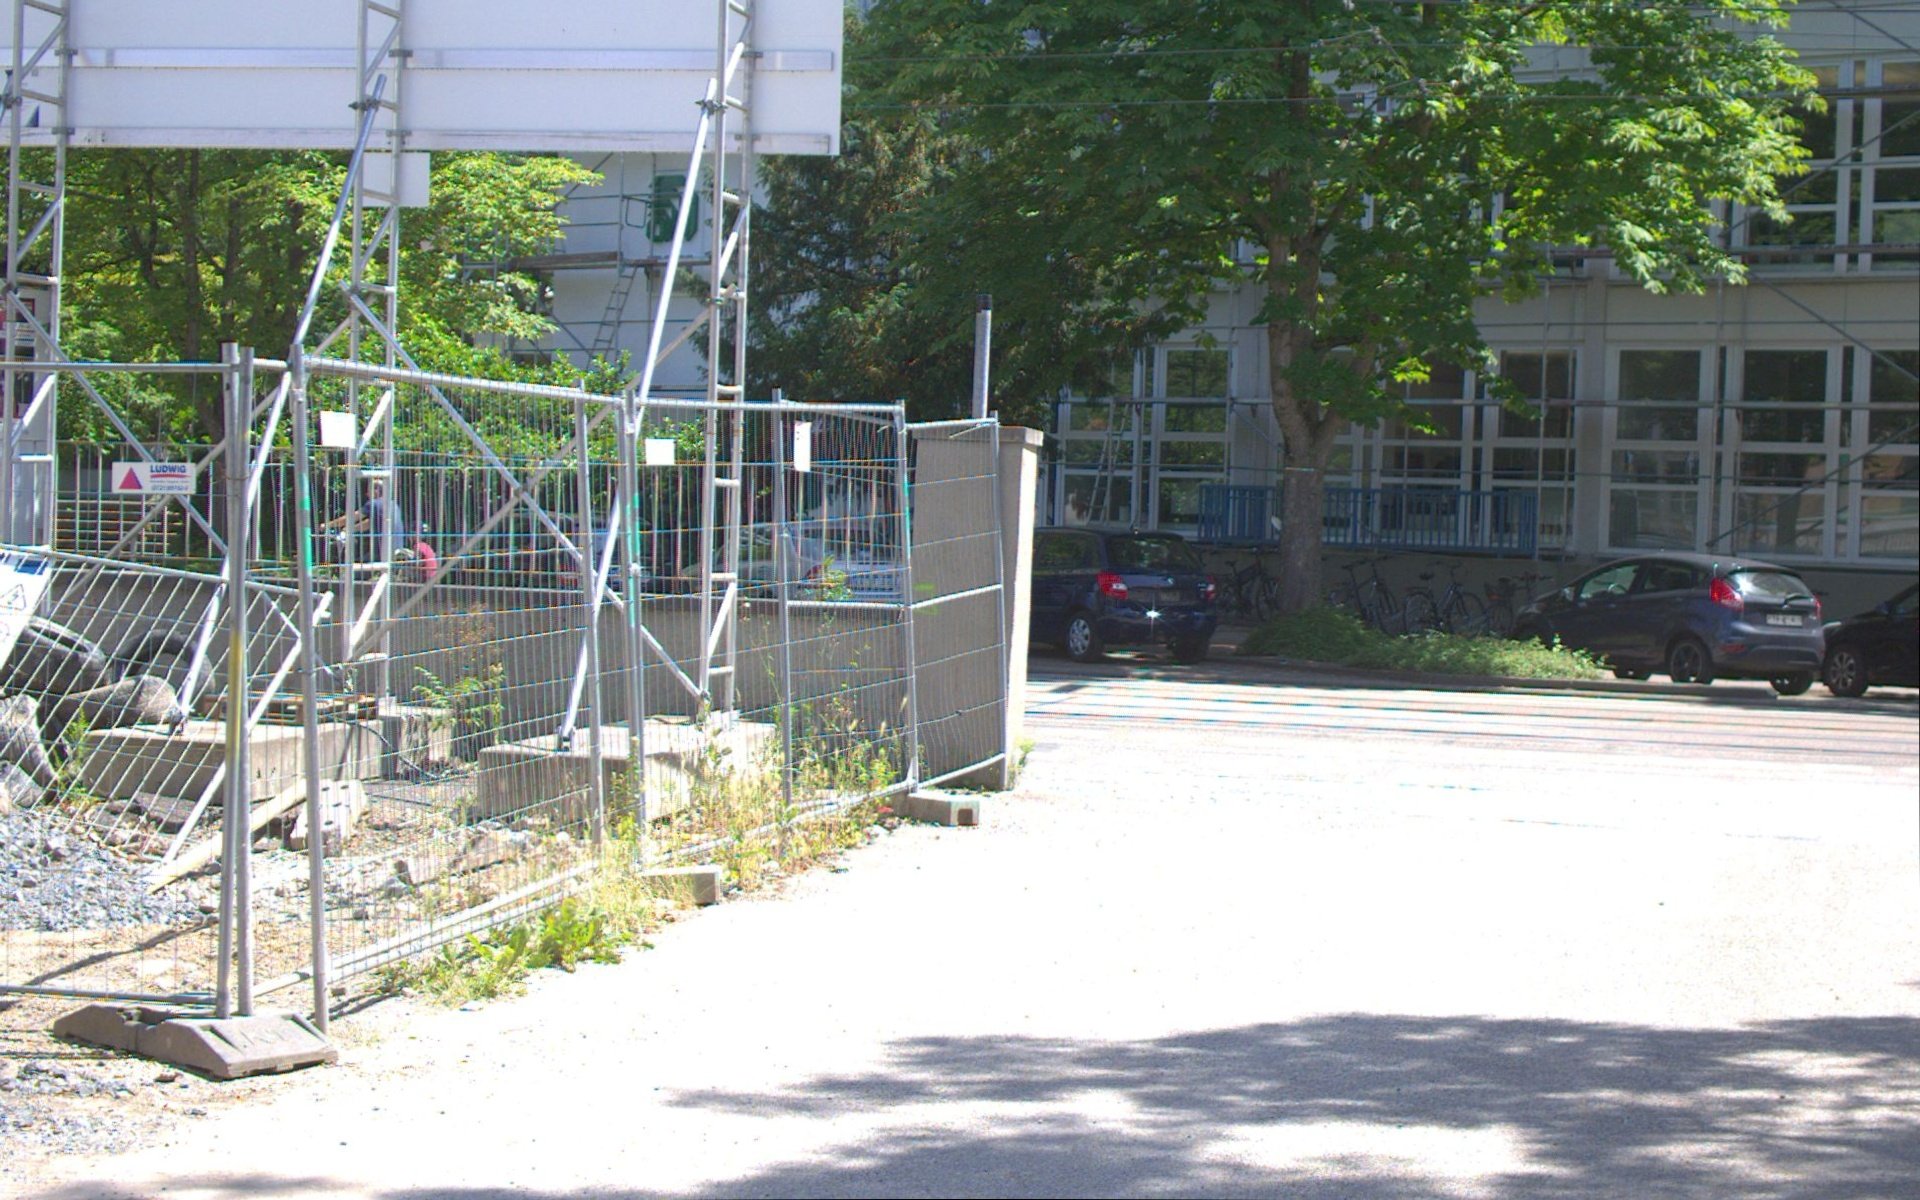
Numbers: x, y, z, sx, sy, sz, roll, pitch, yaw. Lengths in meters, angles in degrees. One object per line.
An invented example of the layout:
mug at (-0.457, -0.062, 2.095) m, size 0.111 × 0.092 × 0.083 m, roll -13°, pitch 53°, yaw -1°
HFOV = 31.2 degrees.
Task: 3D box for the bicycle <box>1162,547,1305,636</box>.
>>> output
bicycle at (3.729, -0.115, 46.643) m, size 0.782 × 1.153 × 2.379 m, roll 2°, pitch 1°, yaw 36°

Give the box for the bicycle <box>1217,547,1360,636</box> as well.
bicycle at (4.430, -0.113, 46.149) m, size 0.782 × 1.153 × 2.379 m, roll 2°, pitch 1°, yaw 36°

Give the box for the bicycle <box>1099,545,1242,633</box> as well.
bicycle at (2.910, -0.153, 47.229) m, size 0.782 × 1.153 × 2.379 m, roll 2°, pitch 1°, yaw 36°

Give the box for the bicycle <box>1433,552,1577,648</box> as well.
bicycle at (7.038, 0.000, 44.281) m, size 0.782 × 1.184 × 2.427 m, roll 2°, pitch 1°, yaw 36°

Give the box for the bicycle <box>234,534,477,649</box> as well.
bicycle at (-6.527, -0.103, 37.151) m, size 2.433 × 1.148 × 0.786 m, roll 2°, pitch 1°, yaw 8°

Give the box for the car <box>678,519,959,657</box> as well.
car at (-1.671, -0.162, 39.482) m, size 1.633 × 1.458 × 3.678 m, roll 1°, pitch 1°, yaw -31°

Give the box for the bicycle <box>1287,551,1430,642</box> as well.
bicycle at (5.295, -0.042, 45.528) m, size 0.782 × 1.153 × 2.379 m, roll 2°, pitch 1°, yaw 36°

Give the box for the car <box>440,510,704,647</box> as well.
car at (-4.529, -0.273, 39.730) m, size 1.633 × 1.458 × 3.678 m, roll 1°, pitch 1°, yaw -31°

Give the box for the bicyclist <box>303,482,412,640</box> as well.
bicyclist at (-6.506, -0.425, 37.138) m, size 0.898 × 1.660 × 0.858 m, roll 2°, pitch 1°, yaw 8°

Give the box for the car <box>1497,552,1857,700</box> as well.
car at (7.794, 0.256, 37.622) m, size 1.639 × 1.458 × 3.677 m, roll 1°, pitch 1°, yaw -36°

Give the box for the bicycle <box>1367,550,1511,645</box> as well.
bicycle at (6.268, -0.035, 44.860) m, size 0.782 × 1.184 × 2.427 m, roll 2°, pitch 1°, yaw 36°

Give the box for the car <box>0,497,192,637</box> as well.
car at (-10.037, -0.397, 38.160) m, size 1.633 × 1.458 × 3.678 m, roll 1°, pitch 1°, yaw -35°

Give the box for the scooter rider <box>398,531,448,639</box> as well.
scooter rider at (-5.685, -0.159, 36.404) m, size 0.416 × 1.130 × 0.359 m, roll 2°, pitch 1°, yaw 8°

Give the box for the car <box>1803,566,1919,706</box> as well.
car at (10.964, 0.417, 36.701) m, size 1.607 × 1.440 × 3.678 m, roll 1°, pitch 1°, yaw -33°

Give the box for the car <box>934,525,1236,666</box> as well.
car at (1.362, -0.077, 38.800) m, size 1.633 × 1.458 × 3.678 m, roll 1°, pitch 1°, yaw -31°

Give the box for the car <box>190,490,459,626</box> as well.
car at (-7.366, -0.505, 39.630) m, size 1.633 × 1.458 × 3.678 m, roll 1°, pitch 1°, yaw -35°
